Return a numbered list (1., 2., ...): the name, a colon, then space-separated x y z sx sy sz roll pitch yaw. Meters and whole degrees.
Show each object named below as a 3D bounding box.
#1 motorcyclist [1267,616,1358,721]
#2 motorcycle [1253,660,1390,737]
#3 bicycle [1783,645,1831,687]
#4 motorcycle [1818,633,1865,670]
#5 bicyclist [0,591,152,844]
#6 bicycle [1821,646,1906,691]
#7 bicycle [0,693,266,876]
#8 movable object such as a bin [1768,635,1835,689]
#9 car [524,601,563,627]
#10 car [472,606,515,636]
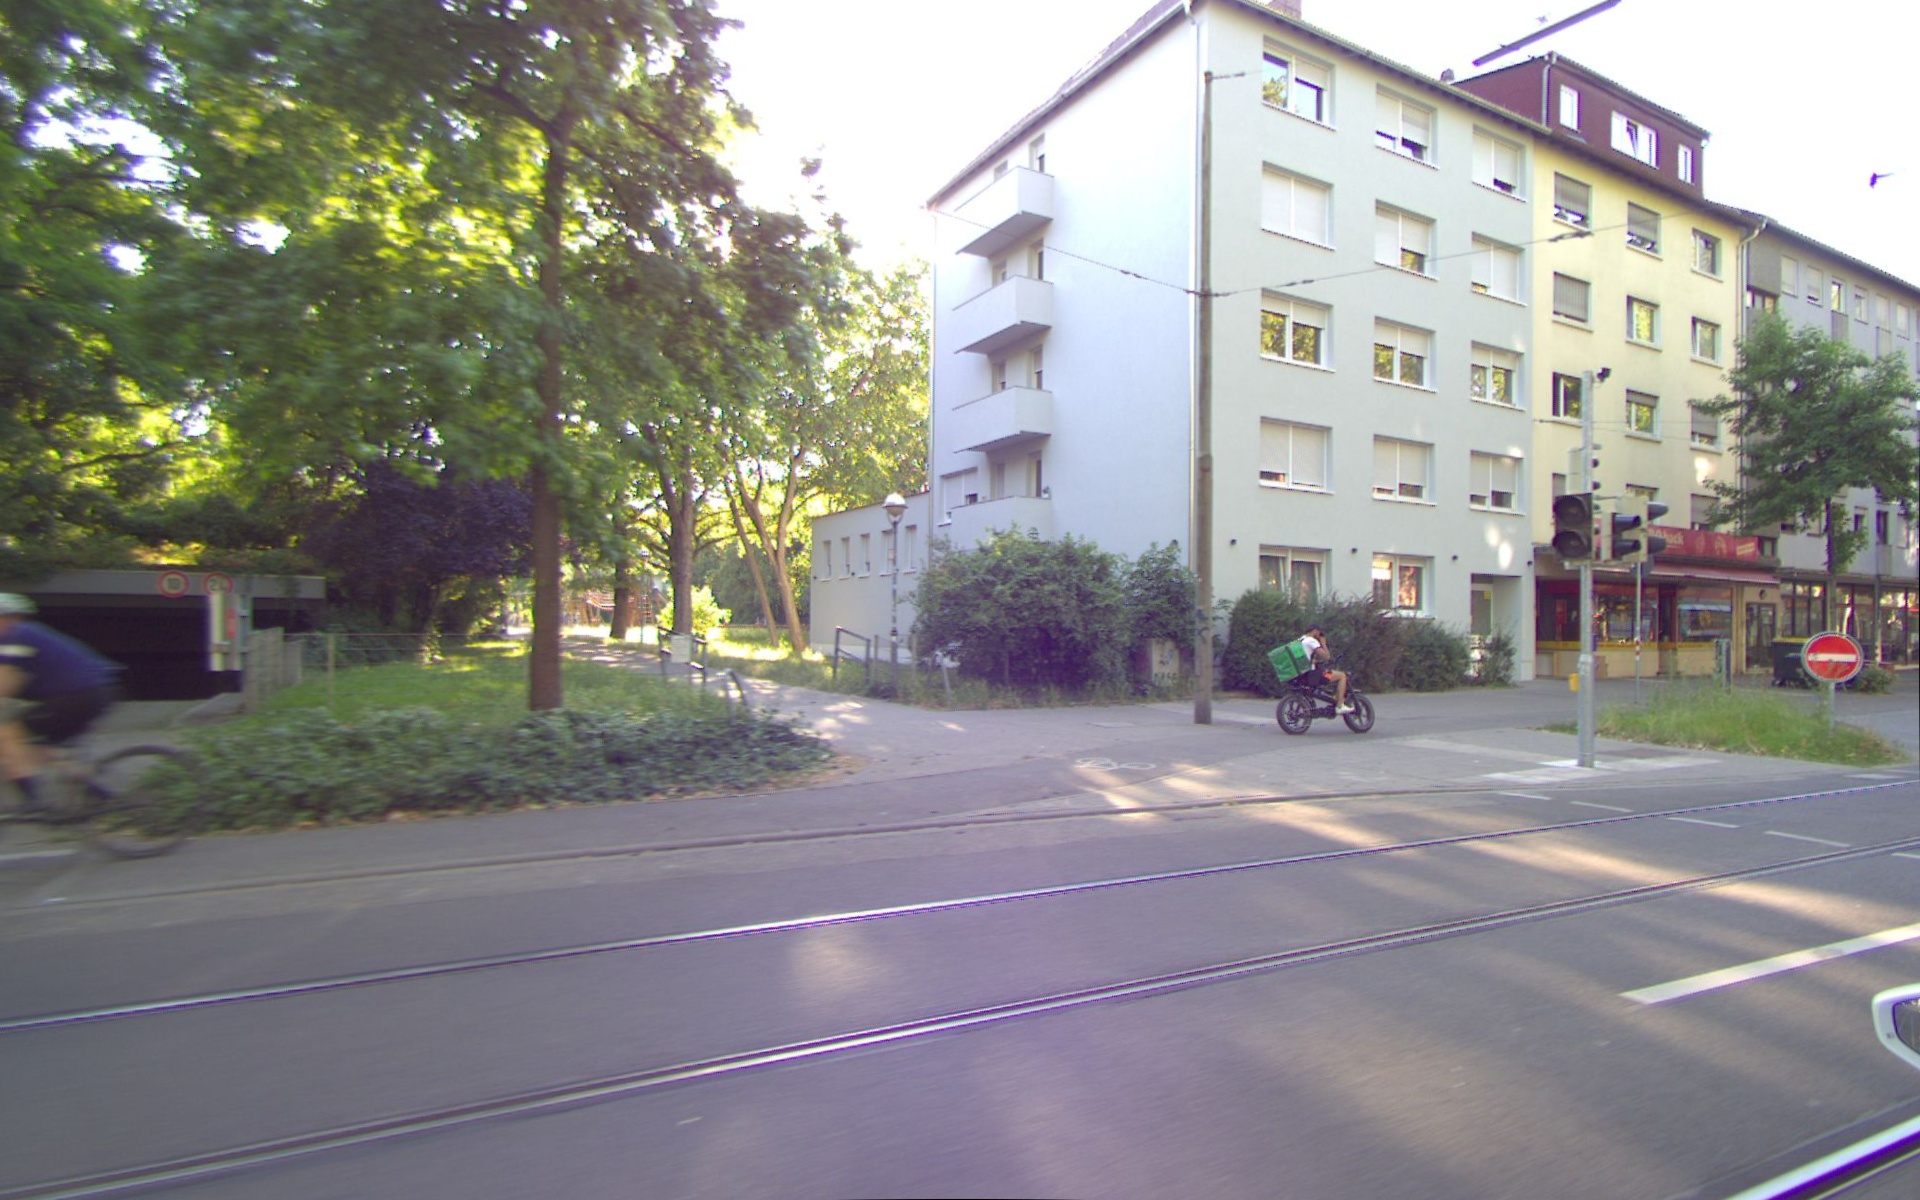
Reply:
1. motorcyclist: 5.069 0.975 14.457 1.085 1.469 0.595 1 -1 -15
2. motorcycle: 5.211 1.403 14.494 1.846 1.046 0.595 1 -1 -15
3. bicycle: 23.974 1.850 28.424 1.780 1.122 0.496 2 2 -33
4. motorcycle: 31.833 1.850 36.256 2.196 1.328 0.596 1 -2 -30
5. bicyclist: -5.607 0.696 6.213 0.827 1.474 0.638 1 -2 -30
6. bicycle: 25.033 1.887 27.858 0.875 1.089 1.526 1 2 -30
7. bicycle: -5.599 1.117 6.210 2.076 1.000 0.638 1 -2 -31
8. movable object such as a bin: 22.955 1.672 27.407 0.775 1.366 1.163 1 2 -33
9. car: -25.893 0.915 62.364 1.778 1.530 3.970 1 -2 -29
10. car: -24.952 1.162 53.682 1.778 1.530 3.970 1 -2 -29
